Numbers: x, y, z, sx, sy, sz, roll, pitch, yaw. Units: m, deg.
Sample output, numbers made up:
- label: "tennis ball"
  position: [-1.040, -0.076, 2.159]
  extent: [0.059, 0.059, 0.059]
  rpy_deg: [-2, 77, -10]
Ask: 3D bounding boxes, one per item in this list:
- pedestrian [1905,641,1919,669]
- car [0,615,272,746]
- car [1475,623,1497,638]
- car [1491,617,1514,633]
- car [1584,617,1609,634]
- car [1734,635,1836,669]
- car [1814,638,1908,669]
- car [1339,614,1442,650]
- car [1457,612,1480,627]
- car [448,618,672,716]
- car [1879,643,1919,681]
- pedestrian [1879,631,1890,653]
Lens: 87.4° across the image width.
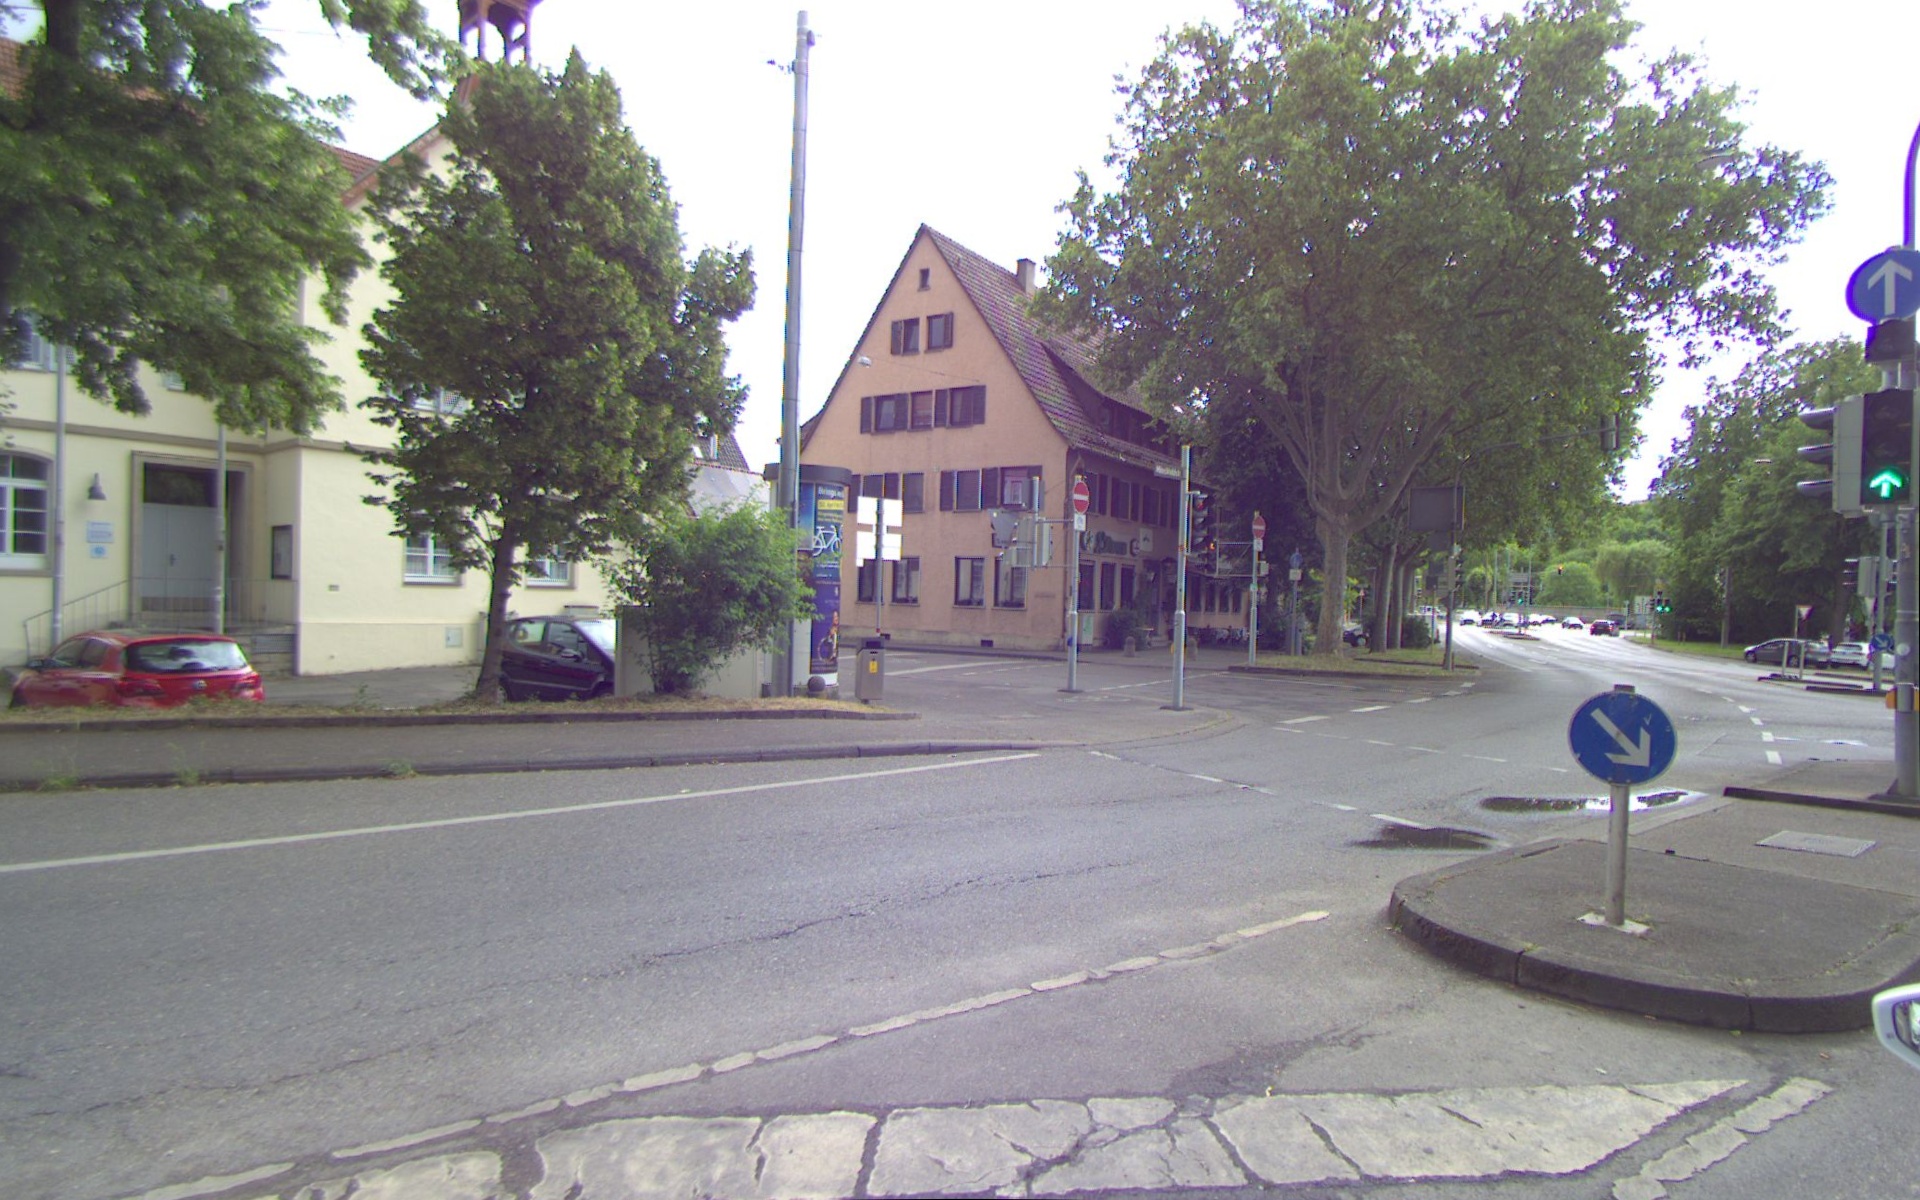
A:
- label: "pedestrian"
  position: [55.945, 3.215, 58.823]
  extent: [0.673, 1.572, 0.741]
  rpy_deg: [2, 0, 29]
- label: "car"
  position: [-10.729, 0.948, 12.980]
  extent: [3.564, 1.371, 1.597]
  rpy_deg: [2, -1, 30]
- label: "car"
  position: [61.305, 3.484, 116.964]
  extent: [1.772, 1.608, 4.401]
  rpy_deg: [0, 0, 34]
- label: "car"
  position: [67.977, 3.132, 125.767]
  extent: [1.886, 1.787, 4.736]
  rpy_deg: [2, 1, 36]
- label: "car"
  position: [61.460, 2.469, 96.971]
  extent: [1.796, 1.529, 4.566]
  rpy_deg: [2, 0, 30]
- label: "car"
  position: [43.867, 2.728, 53.524]
  extent: [1.701, 1.448, 4.107]
  rpy_deg: [2, 2, -7]
- label: "car"
  position: [47.317, 2.782, 52.743]
  extent: [4.194, 1.399, 1.758]
  rpy_deg: [2, 1, -17]
- label: "car"
  position: [24.797, 1.823, 58.027]
  extent: [5.137, 1.957, 2.085]
  rpy_deg: [0, 0, 11]
- label: "car"
  position: [51.793, 2.007, 102.264]
  extent: [1.738, 1.486, 4.012]
  rpy_deg: [1, -1, 32]
- label: "car"
  position: [-6.490, 1.020, 16.275]
  extent: [3.335, 1.327, 1.482]
  rpy_deg: [2, 0, 26]
- label: "car"
  position: [39.260, 2.559, 40.283]
  extent: [1.542, 1.423, 3.494]
  rpy_deg: [2, 1, -1]
- label: "pedestrian"
  position: [66.287, 3.021, 72.026]
  extent: [0.504, 1.552, 0.775]
  rpy_deg: [3, 0, 38]
